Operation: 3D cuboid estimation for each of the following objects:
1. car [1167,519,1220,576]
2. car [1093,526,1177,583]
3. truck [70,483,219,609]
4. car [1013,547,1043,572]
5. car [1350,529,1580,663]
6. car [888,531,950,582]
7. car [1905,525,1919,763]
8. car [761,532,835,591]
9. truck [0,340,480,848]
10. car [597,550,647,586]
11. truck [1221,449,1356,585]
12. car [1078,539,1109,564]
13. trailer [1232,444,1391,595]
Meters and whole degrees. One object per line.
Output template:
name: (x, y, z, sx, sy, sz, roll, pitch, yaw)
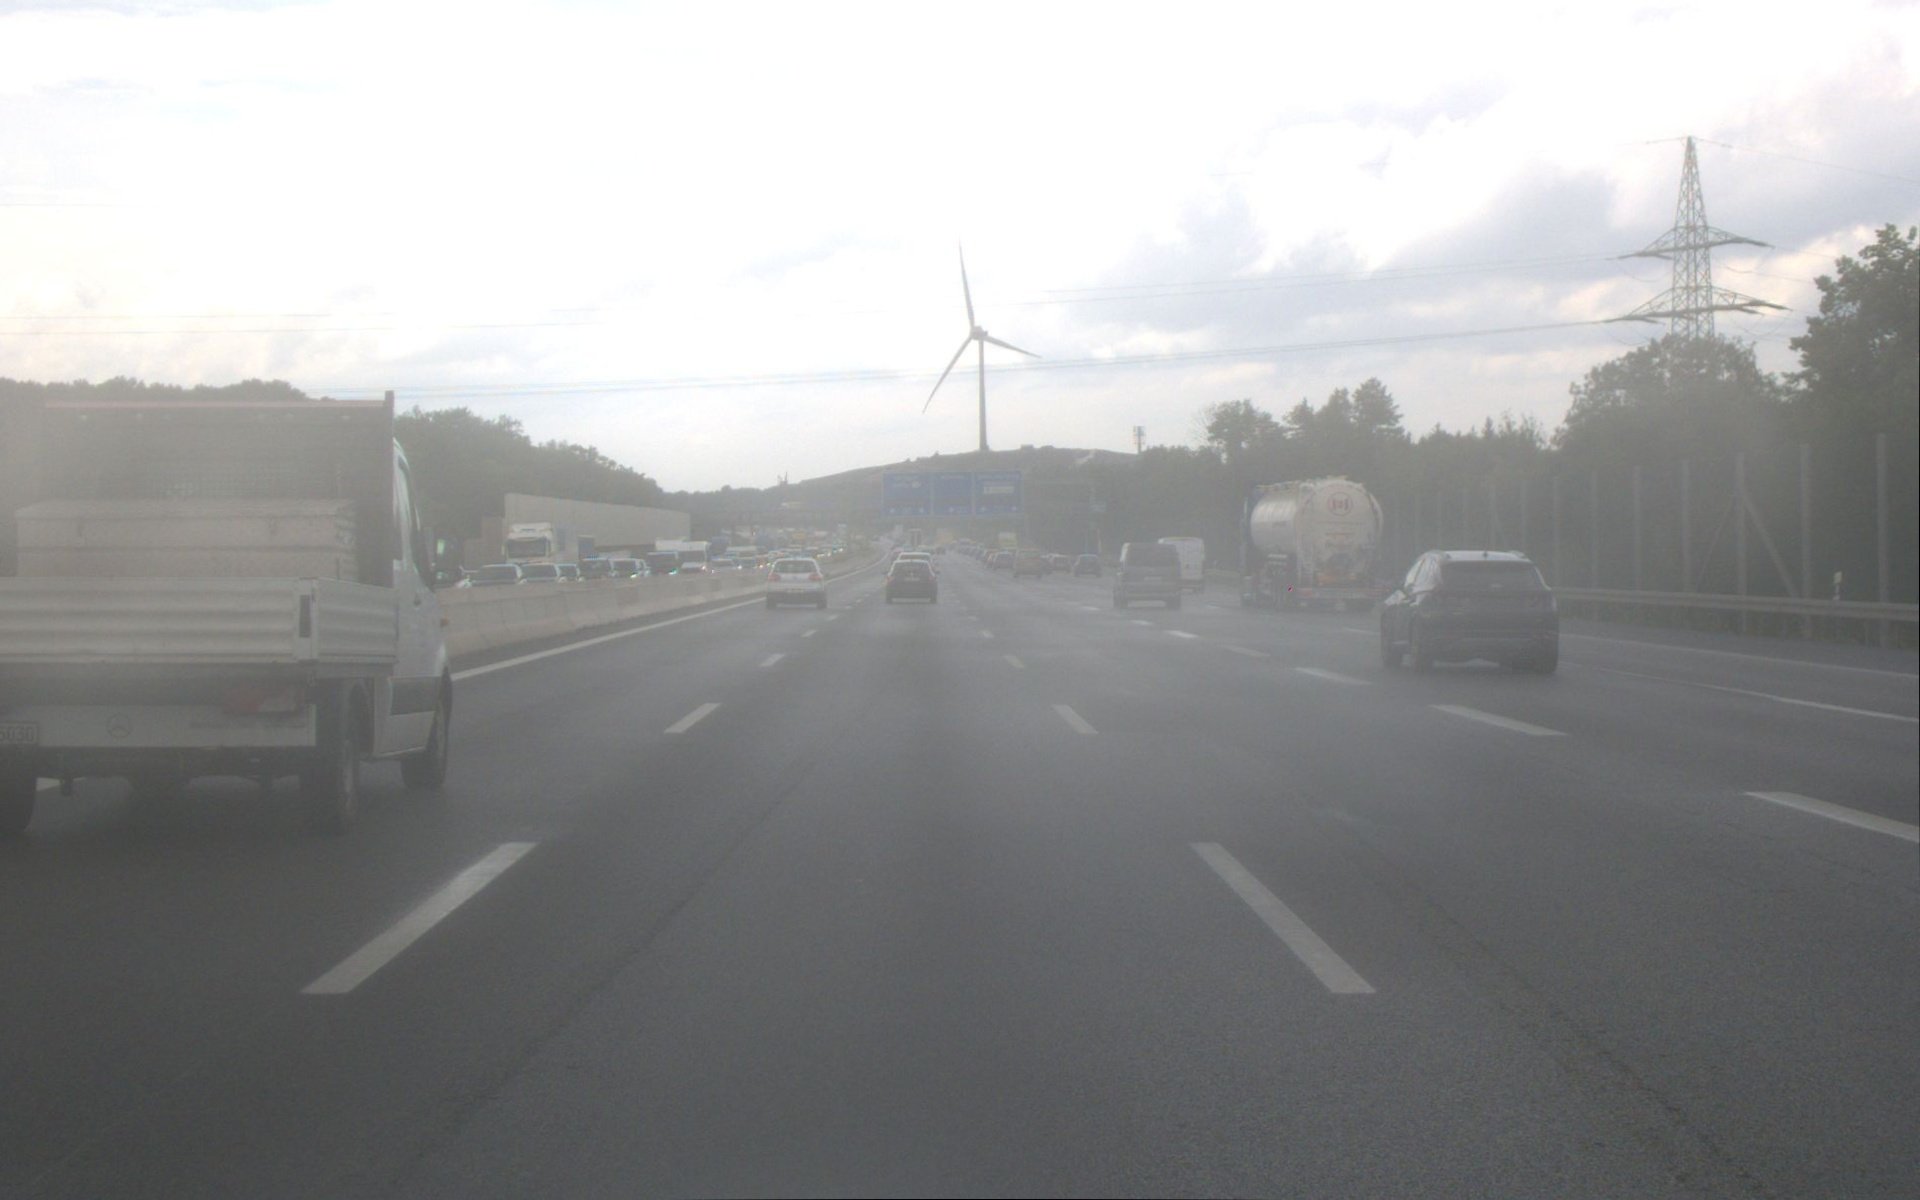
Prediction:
car: (10.487, -2.376, 154.373, 2.045, 2.489, 4.000, 0, 1, -1)
car: (5.348, -1.419, 105.337, 2.097, 1.693, 4.001, 0, 1, -4)
truck: (-23.466, -1.586, 99.242, 2.728, 3.502, 6.800, 0, 1, -1)
car: (4.691, -2.811, 237.304, 2.045, 1.693, 4.000, 0, 1, 0)
car: (6.732, -0.074, 46.360, 2.045, 1.693, 5.007, -1, 0, -4)
car: (-1.421, -1.497, 117.337, 2.045, 1.693, 4.001, 0, 1, -2)
car: (7.484, 0.321, 20.958, 2.105, 1.600, 5.065, 0, 1, 1)
car: (-4.784, -1.159, 102.030, 2.045, 1.693, 4.000, 0, 1, -1)
truck: (-4.360, -0.123, 20.052, 2.353, 2.400, 7.359, 1, 1, -2)
car: (-15.637, -1.498, 159.207, 1.894, 1.618, 4.845, 1, 1, -1)
truck: (10.208, -2.589, 107.650, 3.333, 4.066, 8.272, 1, 1, 0)
car: (9.669, -3.512, 249.276, 1.993, 1.744, 4.497, 1, 1, -1)
trailer: (10.264, -2.378, 101.700, 3.332, 4.161, 11.839, 1, 1, 0)
